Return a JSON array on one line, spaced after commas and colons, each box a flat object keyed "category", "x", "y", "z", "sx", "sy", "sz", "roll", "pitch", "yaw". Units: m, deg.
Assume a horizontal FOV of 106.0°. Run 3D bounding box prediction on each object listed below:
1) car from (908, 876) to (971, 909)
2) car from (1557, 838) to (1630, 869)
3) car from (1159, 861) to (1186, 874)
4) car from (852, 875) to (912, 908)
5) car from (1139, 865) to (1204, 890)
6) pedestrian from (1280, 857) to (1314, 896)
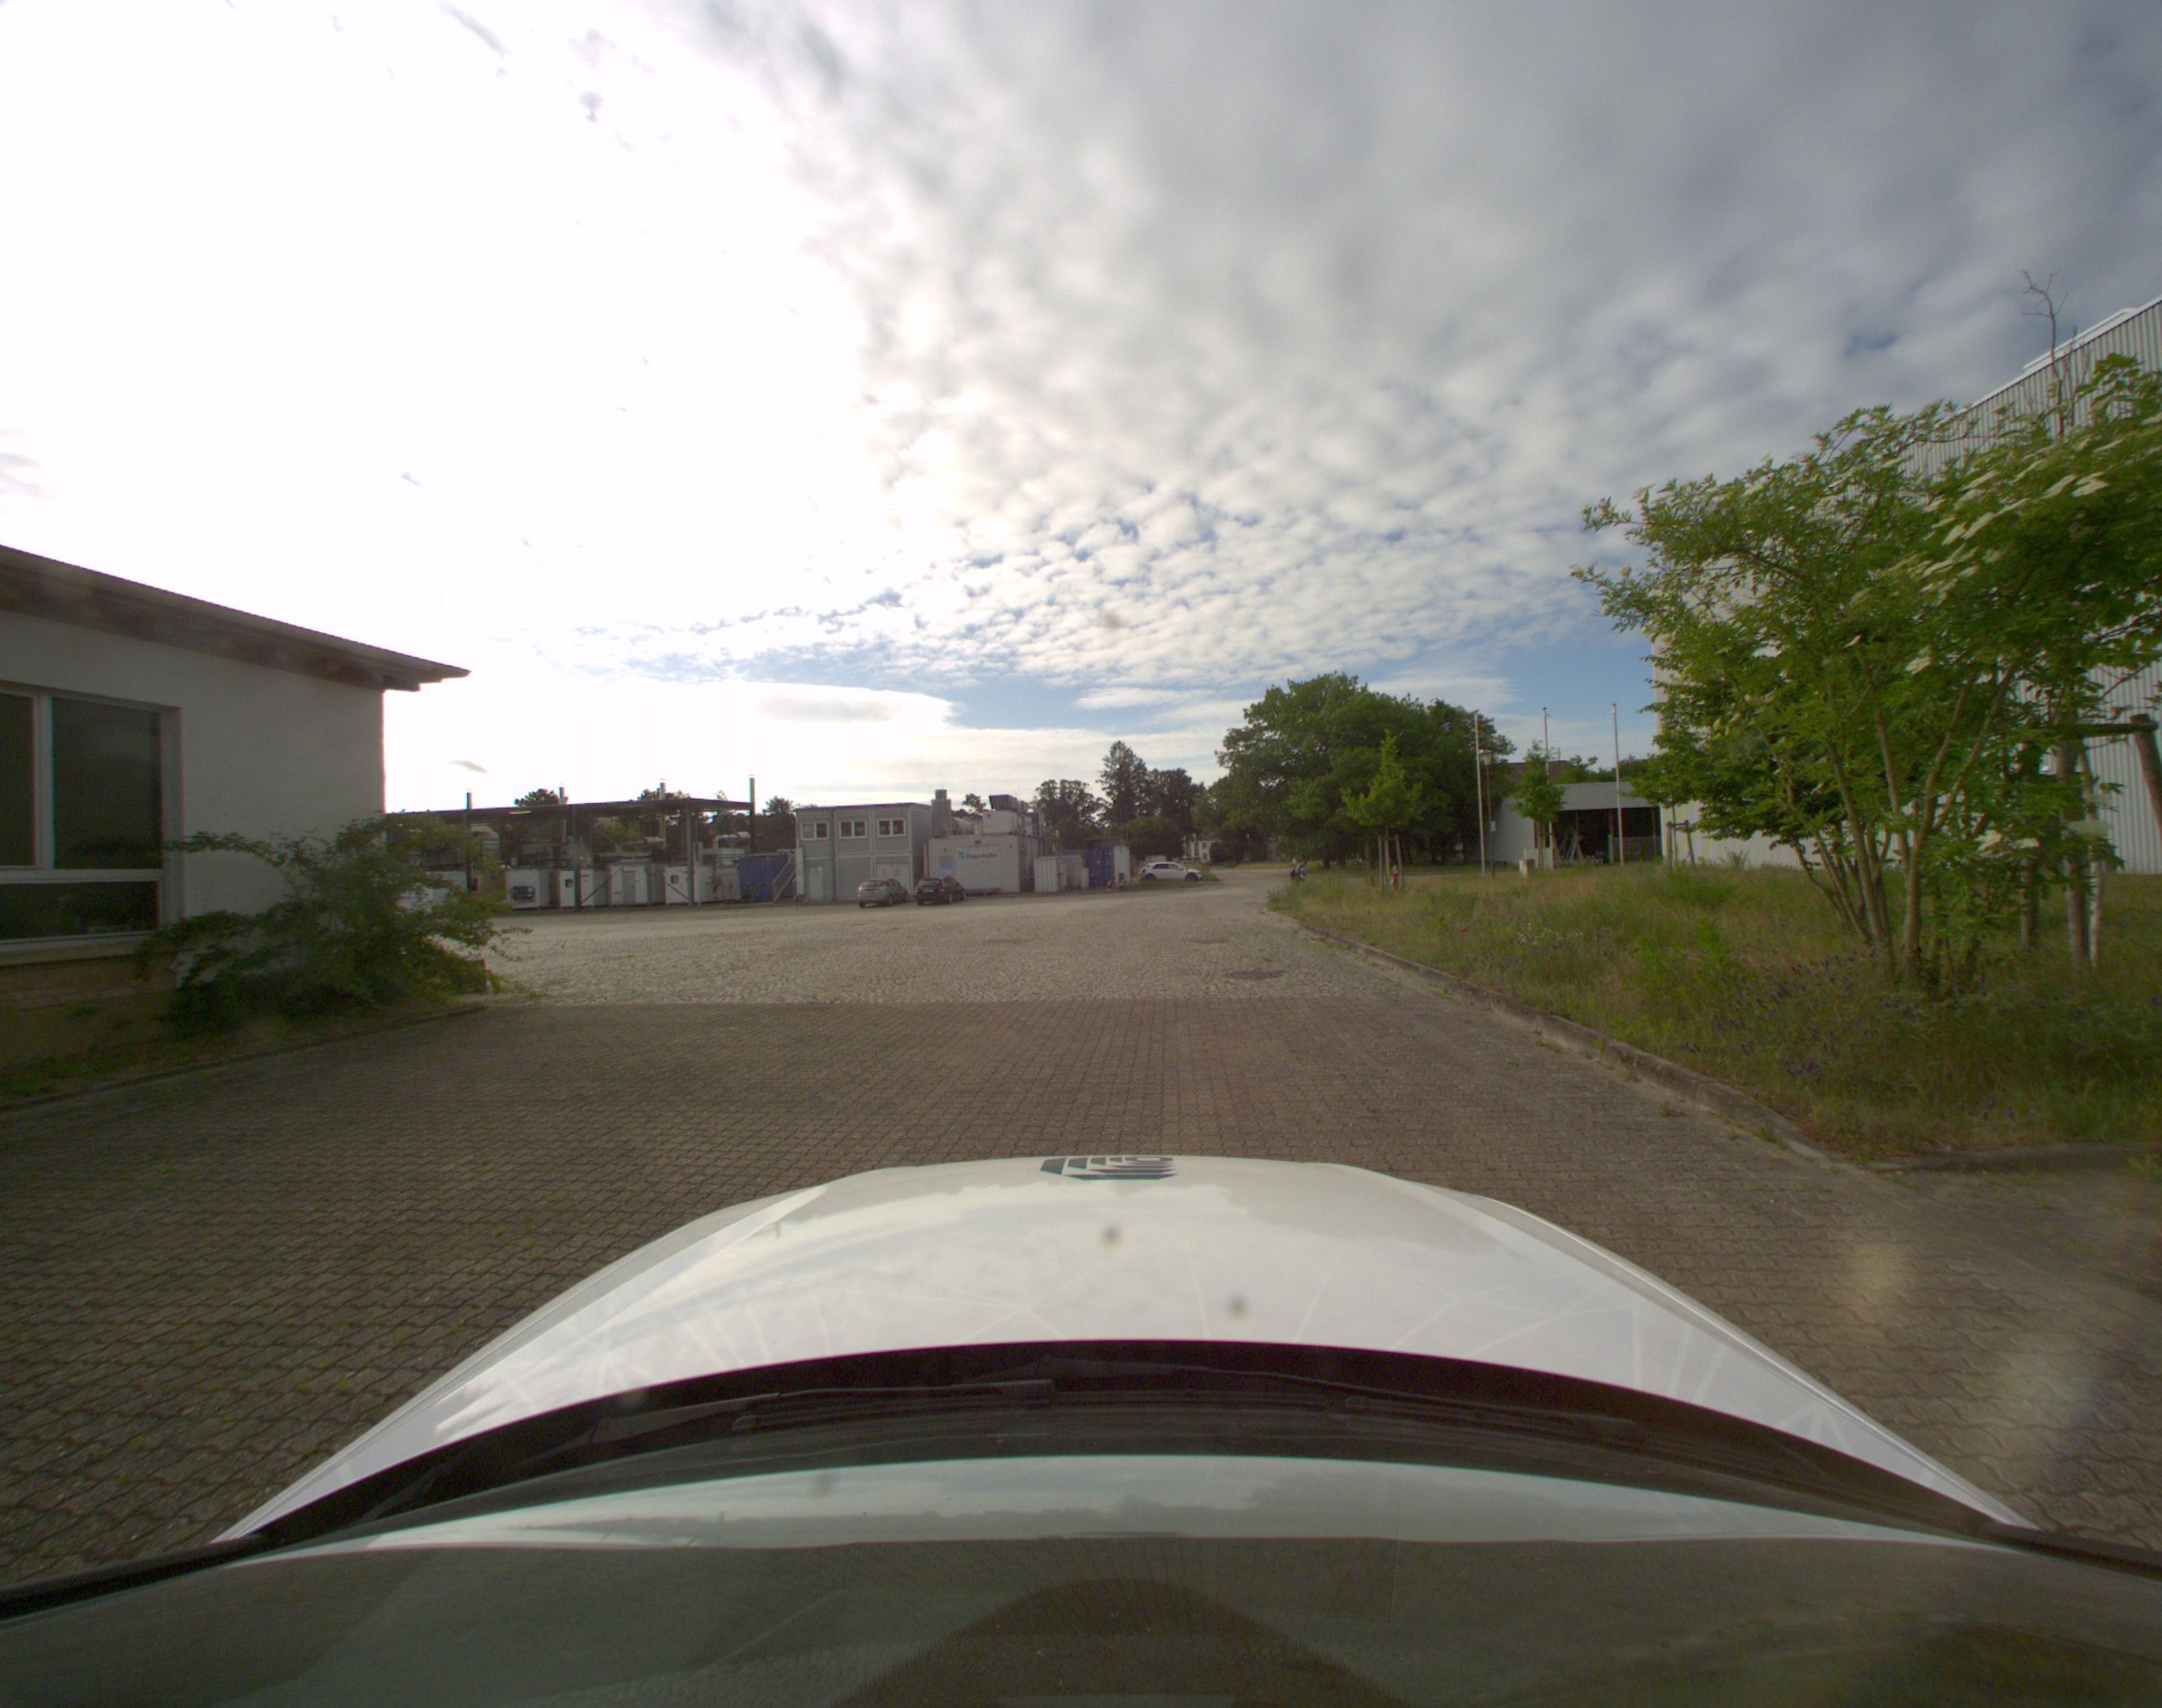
[{"category": "car", "x": -7.468, "y": 2.005, "z": 43.403, "sx": 2.026, "sy": 1.453, "sz": 4.538, "roll": -2, "pitch": 0, "yaw": 6}, {"category": "car", "x": 37.033, "y": 0.021, "z": 59.056, "sx": 2.230, "sy": 2.014, "sz": 5.344, "roll": -3, "pitch": -1, "yaw": 5}, {"category": "car", "x": 18.038, "y": 2.574, "z": 160.422, "sx": 5.144, "sy": 2.338, "sz": 2.003, "roll": -3, "pitch": -1, "yaw": 5}, {"category": "car", "x": -10.693, "y": 1.989, "z": 43.987, "sx": 1.898, "sy": 1.476, "sz": 4.052, "roll": -2, "pitch": 0, "yaw": 4}, {"category": "car", "x": 6.599, "y": 1.693, "z": 59.298, "sx": 4.508, "sy": 1.600, "sz": 2.005, "roll": -3, "pitch": -1, "yaw": 8}, {"category": "pedestrian", "x": 9.061, "y": 0.948, "z": 34.083, "sx": 1.065, "sy": 1.556, "sz": 1.081, "roll": -3, "pitch": -2, "yaw": 30}]
